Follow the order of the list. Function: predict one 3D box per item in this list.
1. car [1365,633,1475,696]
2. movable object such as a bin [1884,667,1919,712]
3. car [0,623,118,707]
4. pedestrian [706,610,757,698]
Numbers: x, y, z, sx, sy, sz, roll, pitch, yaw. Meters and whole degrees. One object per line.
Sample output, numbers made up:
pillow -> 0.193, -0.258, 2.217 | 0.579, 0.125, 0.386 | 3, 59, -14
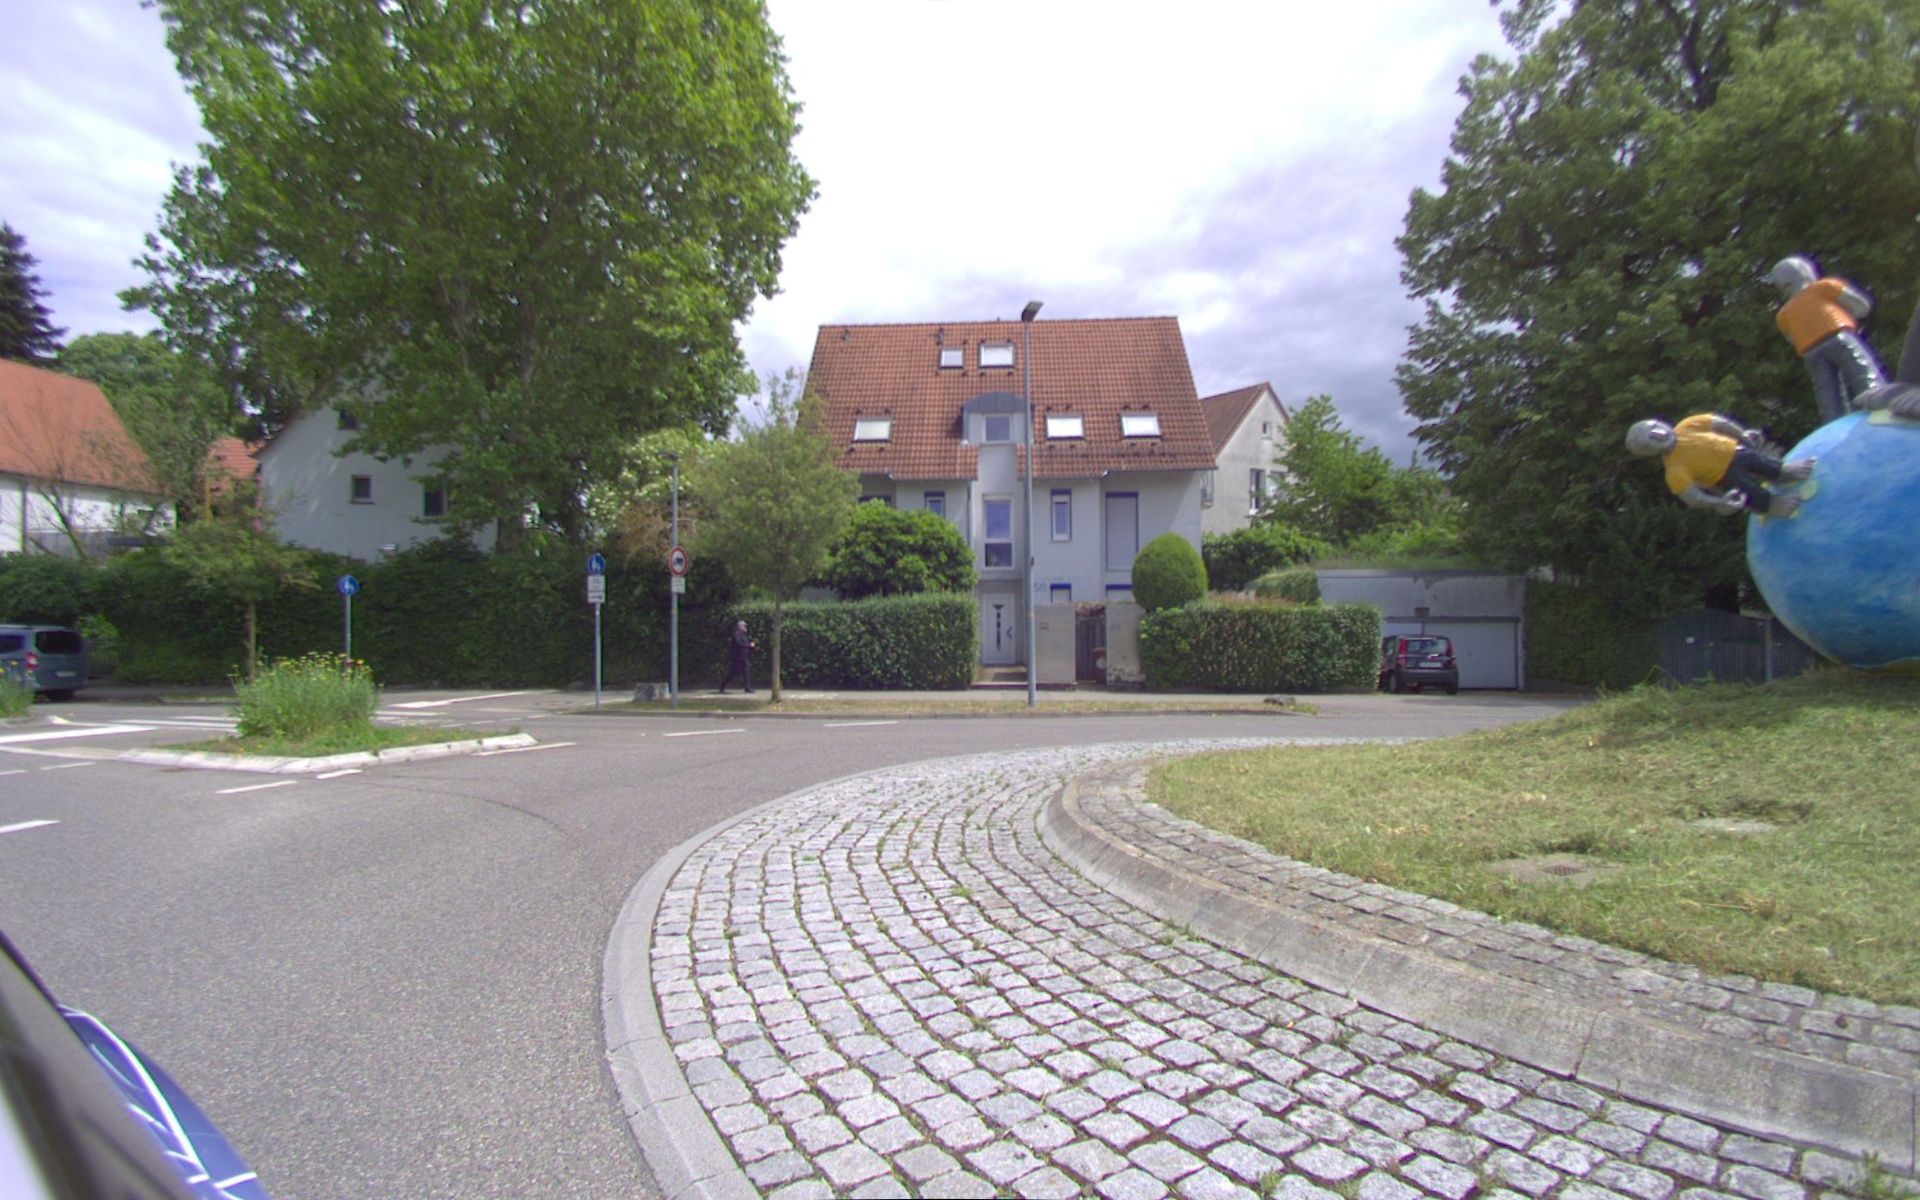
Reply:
car -> 11.920, 1.654, 26.481 | 1.982, 1.497, 3.979 | -1, -3, 16
movable object such as a bin -> 18.775, 1.752, 19.891 | 0.634, 0.870, 0.629 | -1, -3, 14
car -> -22.449, 1.478, 23.220 | 4.398, 1.786, 2.141 | -1, 0, -3
pedestrian -> -5.426, 1.283, 24.095 | 1.026, 2.029, 0.874 | 0, -3, 0
